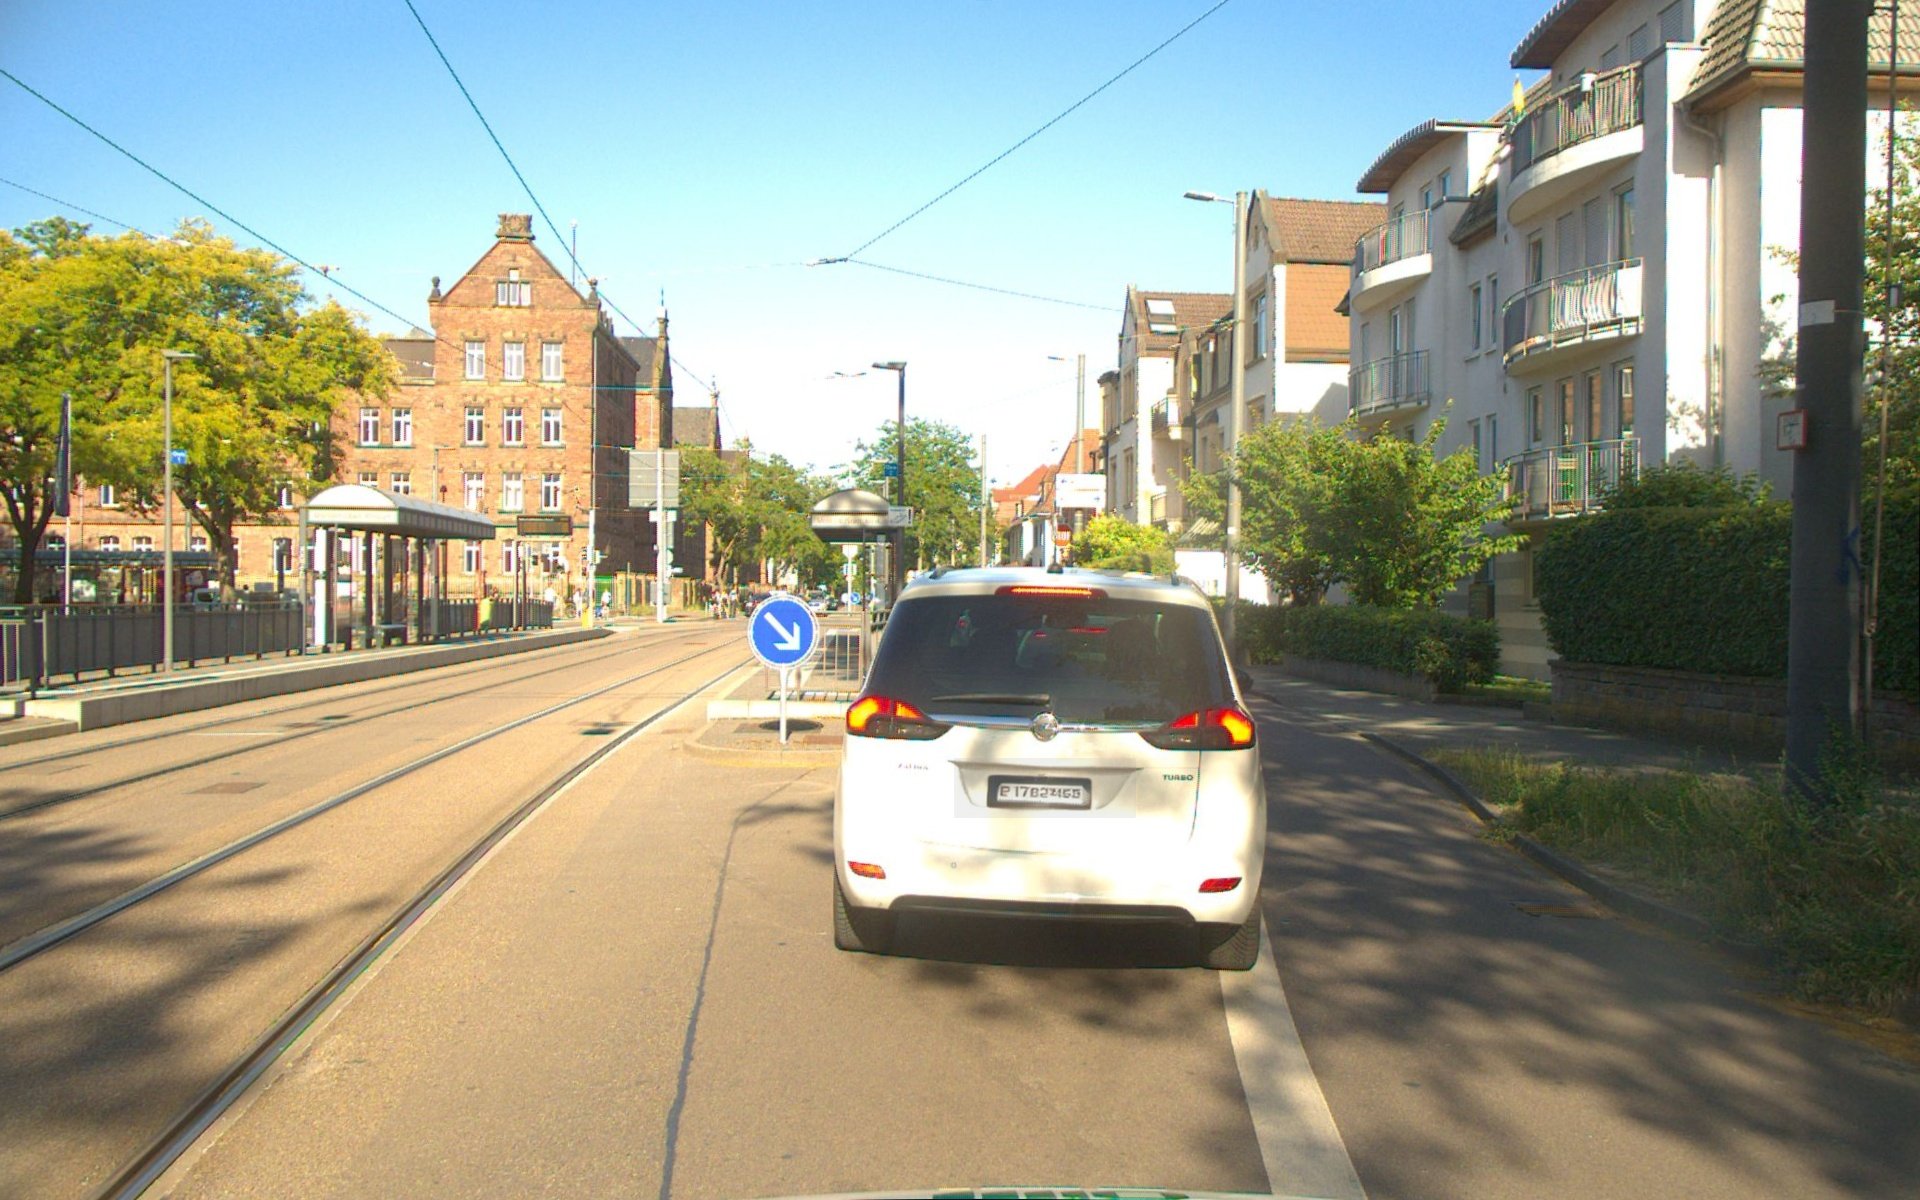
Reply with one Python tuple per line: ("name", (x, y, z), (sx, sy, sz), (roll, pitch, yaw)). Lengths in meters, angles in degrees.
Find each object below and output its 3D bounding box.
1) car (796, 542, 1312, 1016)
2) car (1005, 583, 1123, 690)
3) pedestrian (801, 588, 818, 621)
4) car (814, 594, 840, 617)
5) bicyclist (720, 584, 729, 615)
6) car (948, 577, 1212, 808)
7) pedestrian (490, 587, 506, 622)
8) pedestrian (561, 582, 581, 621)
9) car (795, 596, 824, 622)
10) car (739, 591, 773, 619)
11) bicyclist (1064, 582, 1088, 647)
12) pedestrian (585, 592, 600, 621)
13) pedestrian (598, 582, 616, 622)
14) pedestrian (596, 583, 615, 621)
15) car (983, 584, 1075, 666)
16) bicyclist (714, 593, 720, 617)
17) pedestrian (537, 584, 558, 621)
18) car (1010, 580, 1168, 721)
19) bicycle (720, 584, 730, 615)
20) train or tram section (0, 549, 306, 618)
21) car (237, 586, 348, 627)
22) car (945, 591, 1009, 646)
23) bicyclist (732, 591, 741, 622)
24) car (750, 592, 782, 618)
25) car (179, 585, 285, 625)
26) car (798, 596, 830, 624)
("car", (0.548, 0.629, 8.001), (1.866, 1.690, 4.003), (0, 0, 6))
("car", (1.791, 0.576, 28.276), (1.867, 1.690, 4.002), (0, 0, 4))
("pedestrian", (-8.904, 0.286, 97.946), (0.732, 1.934, 0.804), (1, -1, -24))
("car", (-10.347, 0.445, 128.890), (1.711, 1.746, 3.999), (1, 0, -1))
("bicyclist", (-15.459, -0.050, 108.733), (0.488, 2.049, 0.572), (0, 0, -1))
("car", (1.069, 0.646, 13.764), (1.866, 1.625, 4.003), (0, 0, 6))
("pedestrian", (-24.466, 0.245, 87.611), (0.754, 1.805, 0.717), (1, -1, -18))
("pedestrian", (-20.704, 0.086, 88.015), (0.788, 2.049, 0.712), (1, -1, -34))
("car", (-10.462, 0.600, 115.034), (1.711, 1.746, 3.999), (1, 0, -1))
("car", (-13.153, 0.300, 106.824), (1.711, 1.746, 3.999), (1, 0, -1))
("bicyclist", (3.065, 0.375, 43.757), (0.603, 1.716, 0.779), (0, 0, 3))
("pedestrian", (-21.115, 0.372, 94.959), (0.640, 1.640, 0.711), (1, -1, 1))
("pedestrian", (-18.077, 0.090, 84.683), (0.782, 2.049, 0.717), (1, -1, -18))
("pedestrian", (-19.075, 0.119, 88.929), (0.787, 2.049, 0.713), (1, -1, -33))
("car", (1.448, 0.503, 36.109), (1.868, 1.690, 4.000), (0, 0, 0))
("bicyclist", (-15.098, 0.292, 102.791), (0.307, 1.469, 0.384), (0, 0, -1))
("pedestrian", (-22.119, 0.144, 88.632), (0.791, 1.934, 0.744), (1, -1, 13))
("car", (1.750, 0.584, 21.615), (1.866, 1.653, 4.003), (0, 0, 6))
("bicycle", (-15.466, -0.050, 108.761), (0.477, 2.049, 1.405), (0, 0, -1))
("train or tram section", (-40.743, -0.760, 79.414), (17.048, 3.210, 3.343), (0, 0, -6))
("car", (-28.111, 0.268, 69.738), (3.908, 1.658, 1.817), (1, 0, -4))
("car", (0.506, 0.555, 53.072), (1.869, 1.690, 3.998), (0, 0, -2))
("bicyclist", (-15.081, 0.429, 111.676), (0.478, 2.049, 0.502), (1, -1, -1))
("car", (-13.298, 0.359, 113.489), (1.711, 1.746, 3.999), (1, 0, -1))
("car", (-32.442, 0.222, 73.811), (3.908, 1.658, 1.817), (1, 0, -4))
("car", (-9.445, 0.622, 107.192), (1.711, 1.746, 3.999), (1, 0, -1))
